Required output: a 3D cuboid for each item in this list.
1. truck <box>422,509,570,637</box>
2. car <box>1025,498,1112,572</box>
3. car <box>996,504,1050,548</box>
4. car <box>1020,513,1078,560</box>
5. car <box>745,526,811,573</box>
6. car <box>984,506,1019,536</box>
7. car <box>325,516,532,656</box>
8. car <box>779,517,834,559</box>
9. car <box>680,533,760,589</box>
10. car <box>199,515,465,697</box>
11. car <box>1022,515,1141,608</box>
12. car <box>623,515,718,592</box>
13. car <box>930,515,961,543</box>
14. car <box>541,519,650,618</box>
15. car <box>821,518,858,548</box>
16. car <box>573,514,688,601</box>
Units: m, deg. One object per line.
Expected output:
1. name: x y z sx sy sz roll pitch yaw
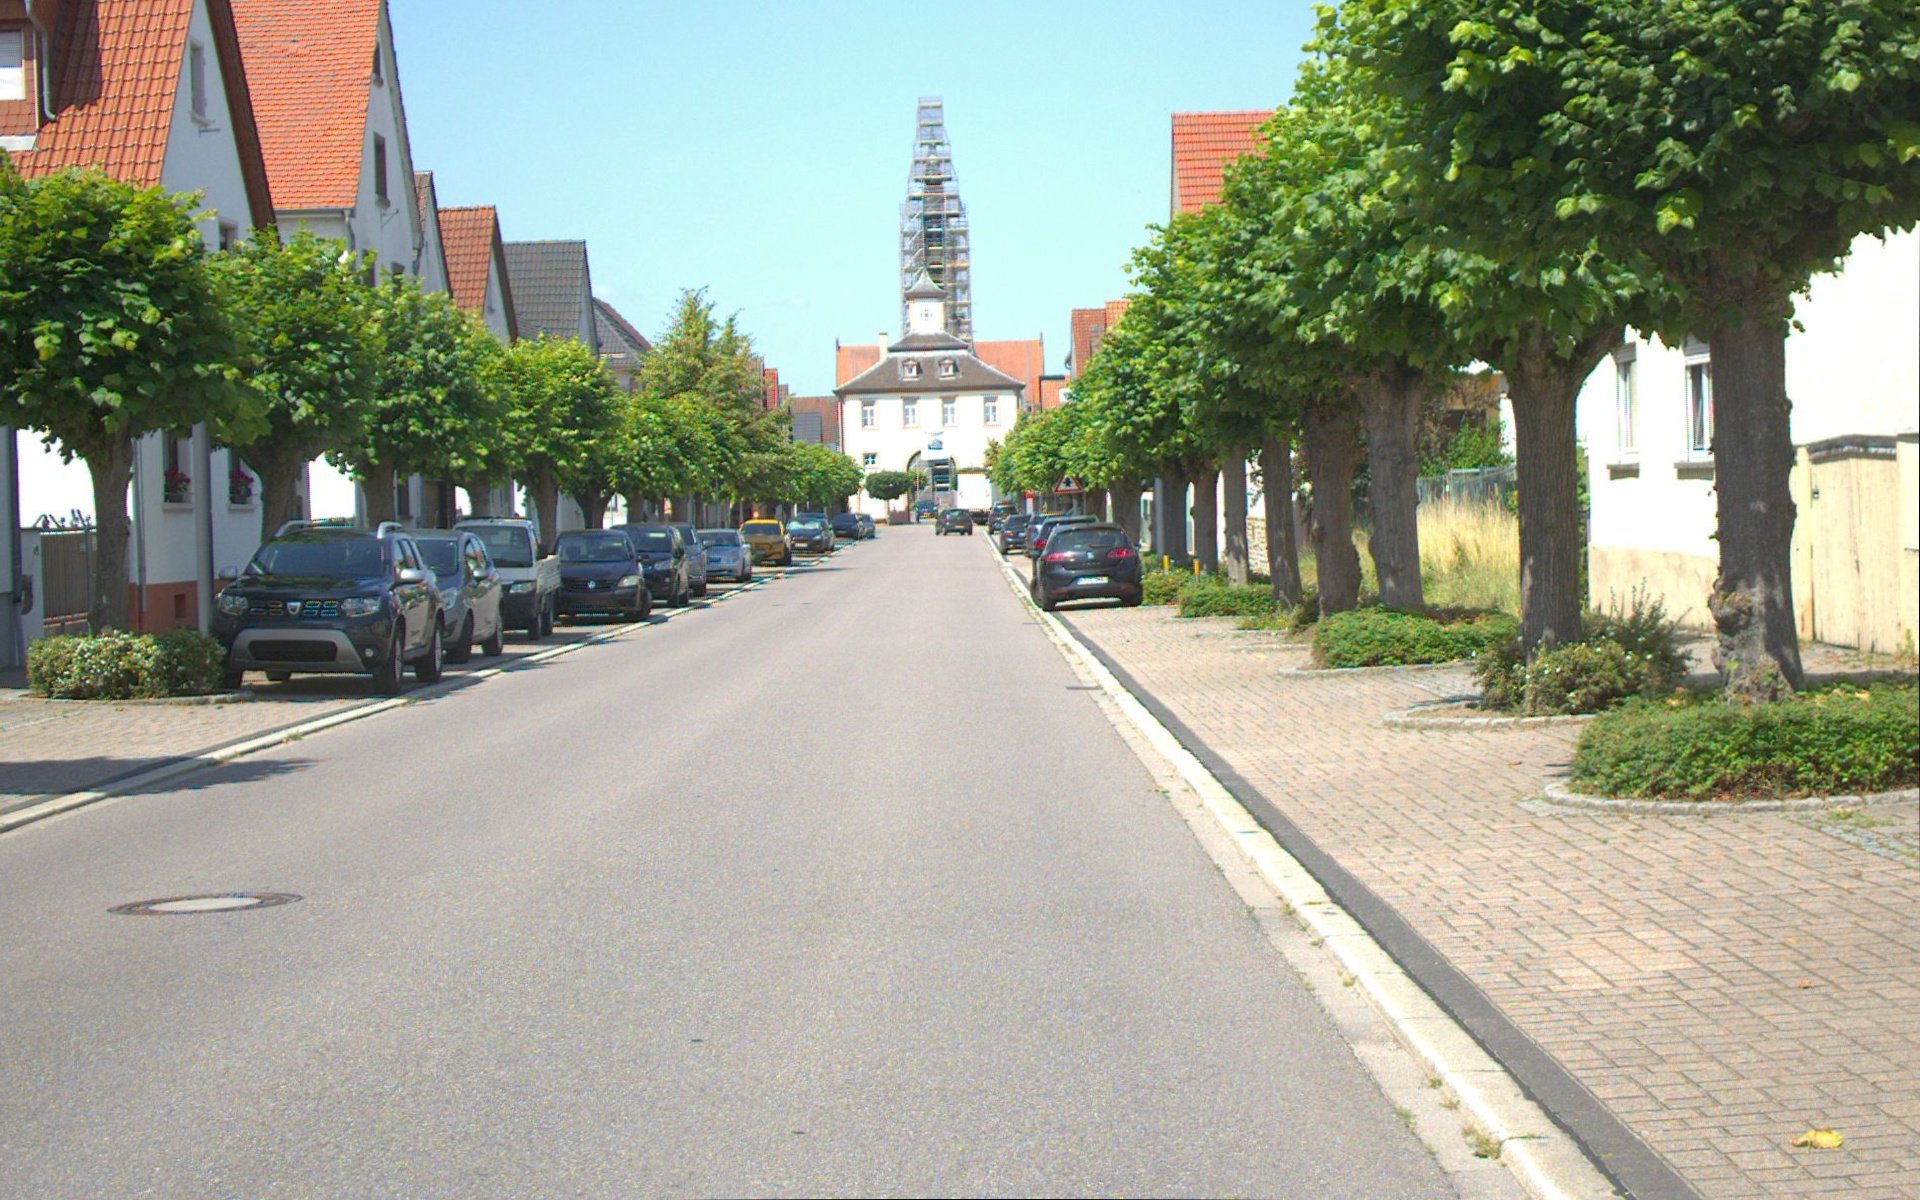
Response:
1. truck: -6.707 -0.415 50.062 1.576 1.759 4.192 1 1 0
2. car: 2.573 -1.546 80.613 1.824 1.580 4.056 -3 2 4
3. car: 2.333 -2.784 128.678 1.837 1.550 4.314 -3 1 0
4. car: 3.120 -2.255 121.200 1.837 1.602 4.001 -1 1 -1
5. car: -6.403 -1.801 121.292 1.993 1.606 4.689 0 1 1
6. car: 2.326 -4.430 191.488 1.837 1.550 4.314 -3 1 1
7. car: -6.478 -0.198 42.314 1.853 1.607 4.371 1 1 0
8. car: -6.347 -2.591 142.899 1.993 1.606 4.689 0 2 1
9. car: -6.358 -1.055 91.505 1.840 1.391 4.407 -1 1 0
10. car: -6.188 0.004 34.338 1.853 1.630 4.299 1 2 0
11. car: 2.056 -0.688 59.113 1.824 1.427 4.057 -3 2 0
12. car: -6.446 -1.067 76.864 1.993 1.647 4.368 -1 1 -3
13. car: -0.802 -3.982 192.378 1.729 1.542 3.455 0 1 0
14. car: -6.194 -0.562 58.698 1.785 1.628 4.001 0 1 -5
15. car: -6.516 -3.612 185.906 1.757 1.550 4.020 -1 2 1
16. car: -6.430 -0.839 67.391 1.853 1.629 4.057 0 1 0
